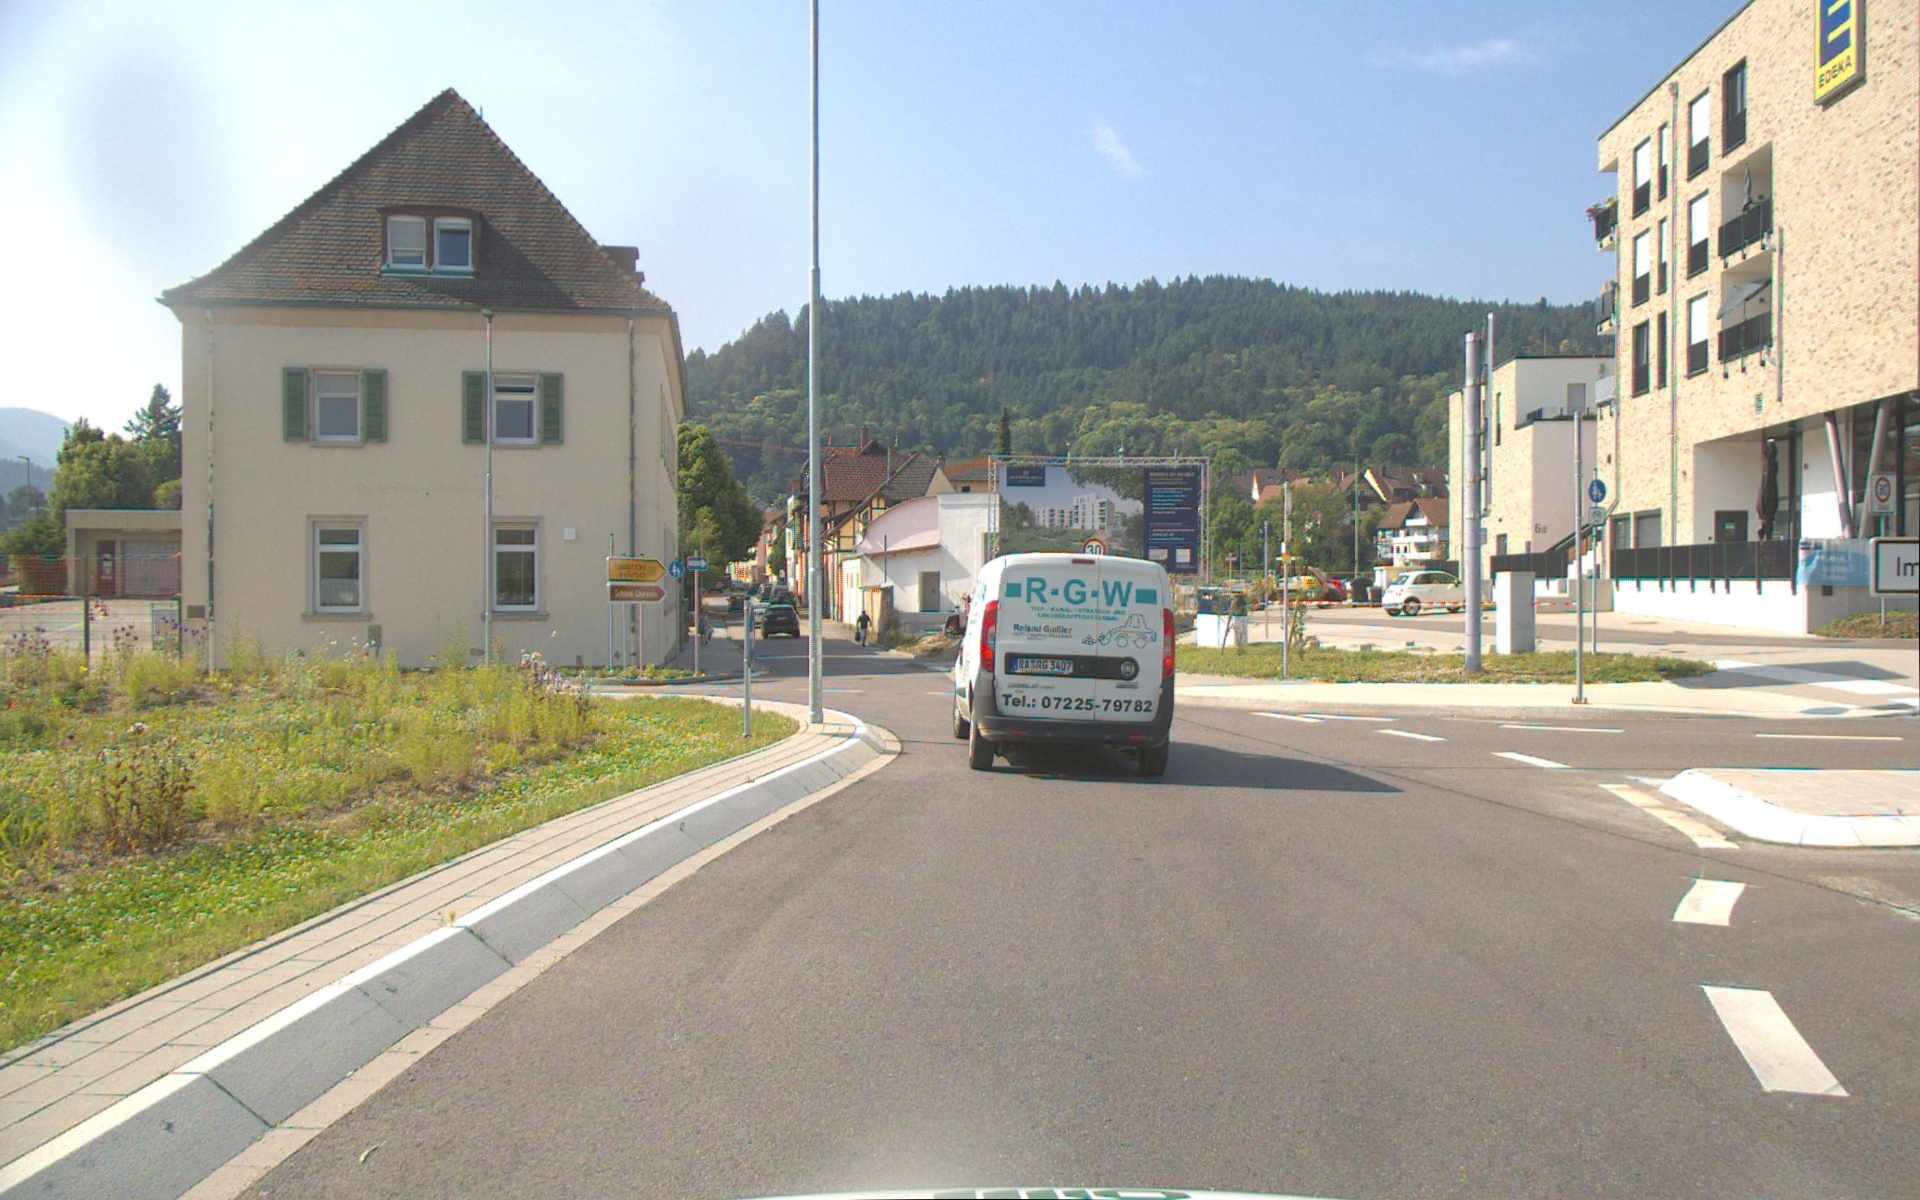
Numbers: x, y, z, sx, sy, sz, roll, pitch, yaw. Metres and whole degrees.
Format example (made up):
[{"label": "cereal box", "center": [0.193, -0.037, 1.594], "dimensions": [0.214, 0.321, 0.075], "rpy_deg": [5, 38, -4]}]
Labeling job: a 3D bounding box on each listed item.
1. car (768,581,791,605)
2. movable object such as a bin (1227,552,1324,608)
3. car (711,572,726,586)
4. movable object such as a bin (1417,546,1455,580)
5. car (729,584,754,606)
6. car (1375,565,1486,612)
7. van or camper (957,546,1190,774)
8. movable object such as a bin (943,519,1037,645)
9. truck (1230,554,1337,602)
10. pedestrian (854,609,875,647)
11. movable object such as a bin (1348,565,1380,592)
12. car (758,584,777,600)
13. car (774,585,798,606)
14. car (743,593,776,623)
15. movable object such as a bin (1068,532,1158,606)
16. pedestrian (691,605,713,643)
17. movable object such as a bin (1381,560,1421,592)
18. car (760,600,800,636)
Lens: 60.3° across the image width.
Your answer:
[{"label": "car", "center": [-16.313, -0.663, 149.253], "dimensions": [1.837, 2.049, 3.991], "rpy_deg": [1, 1, -10]}, {"label": "movable object such as a bin", "center": [15.820, -0.985, 82.846], "dimensions": [4.514, 2.614, 1.926], "rpy_deg": [-2, 0, 16]}, {"label": "car", "center": [-30.673, -2.666, 209.910], "dimensions": [1.778, 1.624, 3.917], "rpy_deg": [2, 1, -11]}, {"label": "movable object such as a bin", "center": [21.419, -1.654, 74.441], "dimensions": [1.272, 1.489, 1.320], "rpy_deg": [2, 1, 1]}, {"label": "car", "center": [-17.542, -0.446, 132.672], "dimensions": [1.777, 1.624, 3.919], "rpy_deg": [2, 1, -9]}, {"label": "car", "center": [16.473, -0.397, 57.981], "dimensions": [3.343, 1.521, 1.590], "rpy_deg": [-1, -1, -10]}, {"label": "van or camper", "center": [0.938, 0.493, 15.742], "dimensions": [1.791, 1.877, 4.187], "rpy_deg": [0, 0, -2]}, {"label": "movable object such as a bin", "center": [0.905, -0.581, 56.256], "dimensions": [2.250, 3.921, 7.790], "rpy_deg": [2, 0, -5]}, {"label": "truck", "center": [16.880, -1.148, 86.253], "dimensions": [5.202, 2.305, 2.220], "rpy_deg": [-2, 0, 17]}, {"label": "pedestrian", "center": [-4.389, 1.271, 76.193], "dimensions": [0.872, 1.712, 0.717], "rpy_deg": [1, -1, -9]}, {"label": "movable object such as a bin", "center": [20.100, -1.070, 82.356], "dimensions": [1.269, 1.290, 1.320], "rpy_deg": [2, 1, 1]}, {"label": "car", "center": [-19.270, -0.786, 165.433], "dimensions": [1.640, 1.534, 3.990], "rpy_deg": [-1, 1, -11]}, {"label": "car", "center": [-14.685, -0.378, 139.262], "dimensions": [1.777, 1.624, 3.919], "rpy_deg": [2, 1, -9]}, {"label": "car", "center": [-12.140, 0.452, 99.899], "dimensions": [1.777, 1.624, 3.919], "rpy_deg": [2, 1, -9]}, {"label": "movable object such as a bin", "center": [8.102, -1.628, 87.157], "dimensions": [2.794, 3.684, 5.731], "rpy_deg": [3, 1, 25]}, {"label": "pedestrian", "center": [-11.435, 1.043, 73.389], "dimensions": [0.940, 1.659, 0.756], "rpy_deg": [1, 0, -10]}, {"label": "movable object such as a bin", "center": [21.309, -1.163, 79.923], "dimensions": [1.547, 1.489, 1.320], "rpy_deg": [2, 1, 1]}, {"label": "car", "center": [-9.208, 0.912, 84.449], "dimensions": [1.777, 1.624, 3.919], "rpy_deg": [2, 1, -9]}]
